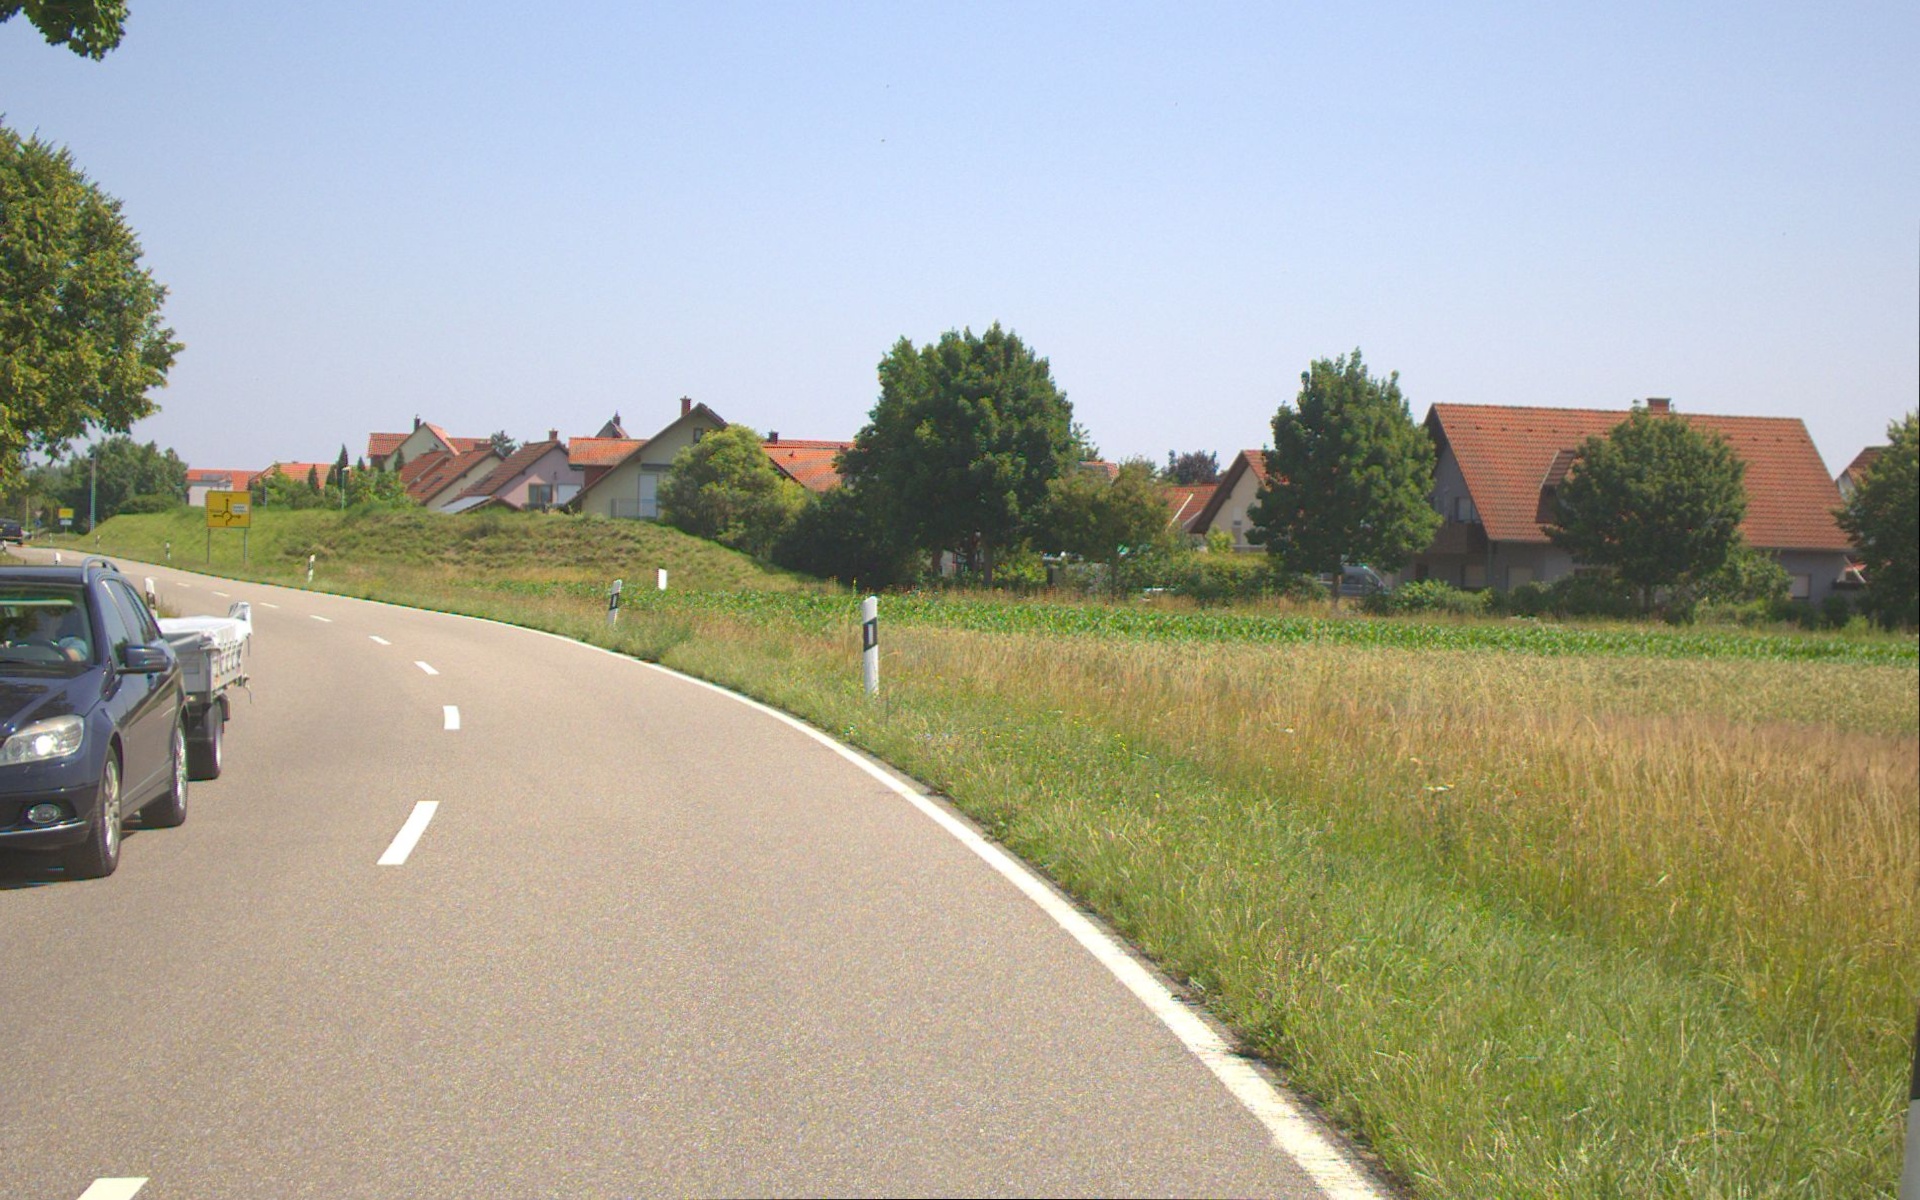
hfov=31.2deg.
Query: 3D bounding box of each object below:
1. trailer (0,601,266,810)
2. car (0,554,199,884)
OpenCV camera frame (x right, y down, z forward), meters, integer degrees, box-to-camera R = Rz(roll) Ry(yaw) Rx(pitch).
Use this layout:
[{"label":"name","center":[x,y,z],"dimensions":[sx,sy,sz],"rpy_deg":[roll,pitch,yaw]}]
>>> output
[{"label":"trailer","center":[-5.306,0.593,21.160],"dimensions":[1.622,1.061,4.120],"rpy_deg":[-2,1,-6]},{"label":"car","center":[-4.877,0.507,17.005],"dimensions":[1.643,1.424,4.181],"rpy_deg":[-1,1,-6]}]
